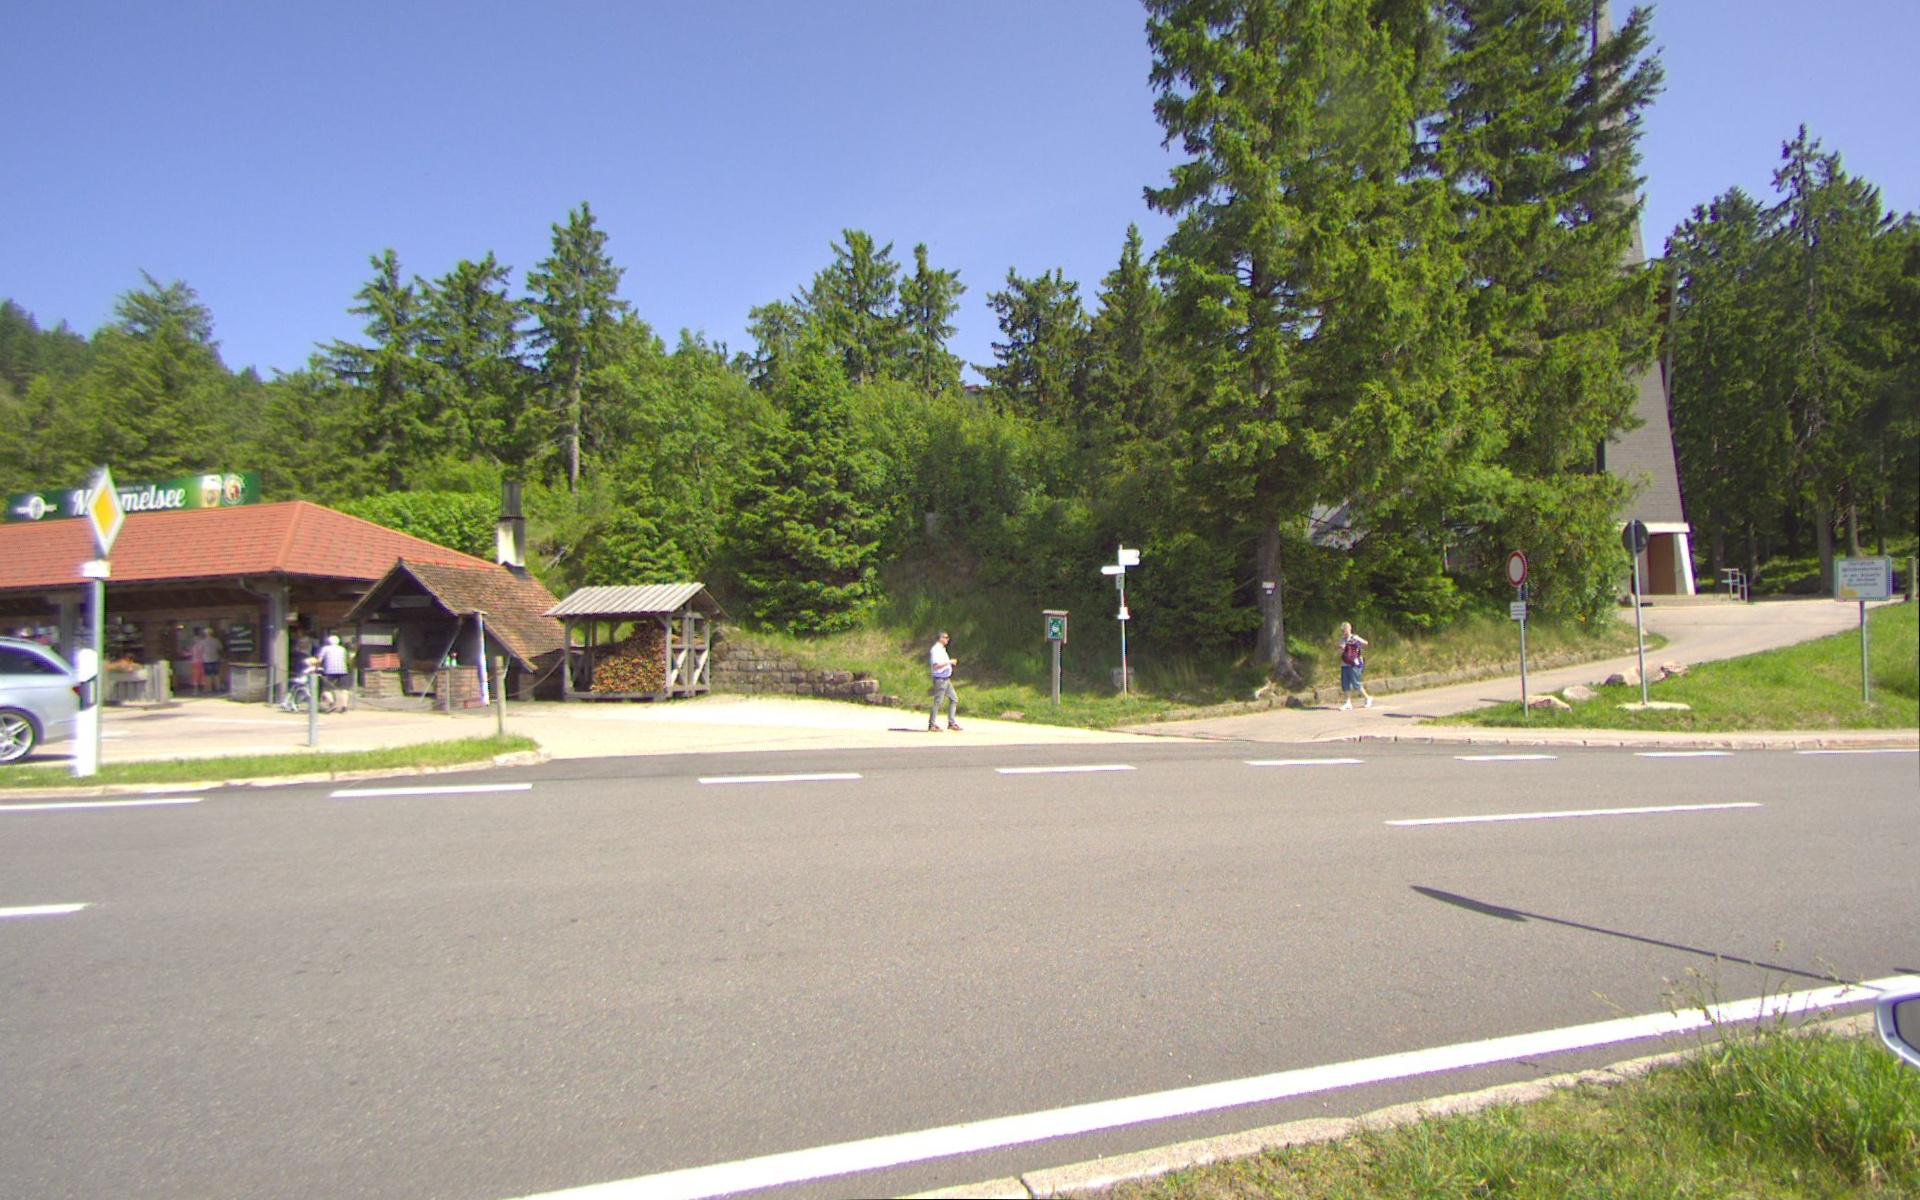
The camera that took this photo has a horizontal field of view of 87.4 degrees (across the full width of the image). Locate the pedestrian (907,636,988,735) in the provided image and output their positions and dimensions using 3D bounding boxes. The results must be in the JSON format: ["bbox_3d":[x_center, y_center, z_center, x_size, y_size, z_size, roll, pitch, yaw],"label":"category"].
[{"bbox_3d":[-0.212,1.509,18.040,1.140,1.720,0.978,-1,-3,25],"label":"pedestrian"}]

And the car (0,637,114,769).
[{"bbox_3d":[-11.706,1.074,10.183,1.688,1.449,4.504,-1,-4,20],"label":"car"}]

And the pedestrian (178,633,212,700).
[{"bbox_3d":[-20.526,1.774,26.970,0.548,1.759,0.668,1,-3,-25],"label":"pedestrian"}]

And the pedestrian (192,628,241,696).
[{"bbox_3d":[-19.716,1.645,26.656,0.789,1.759,0.748,-1,-3,30],"label":"pedestrian"}]

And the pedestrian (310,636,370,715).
[{"bbox_3d":[-13.876,1.664,22.483,0.789,1.721,0.838,-1,-3,30],"label":"pedestrian"}]

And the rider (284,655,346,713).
[{"bbox_3d":[-14.702,1.899,22.907,0.893,1.291,0.838,-1,-3,30],"label":"rider"}]

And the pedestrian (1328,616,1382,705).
[{"bbox_3d":[7.776,1.185,19.790,0.673,1.703,0.718,1,-3,-22],"label":"pedestrian"}]

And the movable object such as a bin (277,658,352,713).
[{"bbox_3d":[-14.755,1.937,22.956,1.195,1.204,0.982,-1,-3,30],"label":"movable object such as a bin"}]
